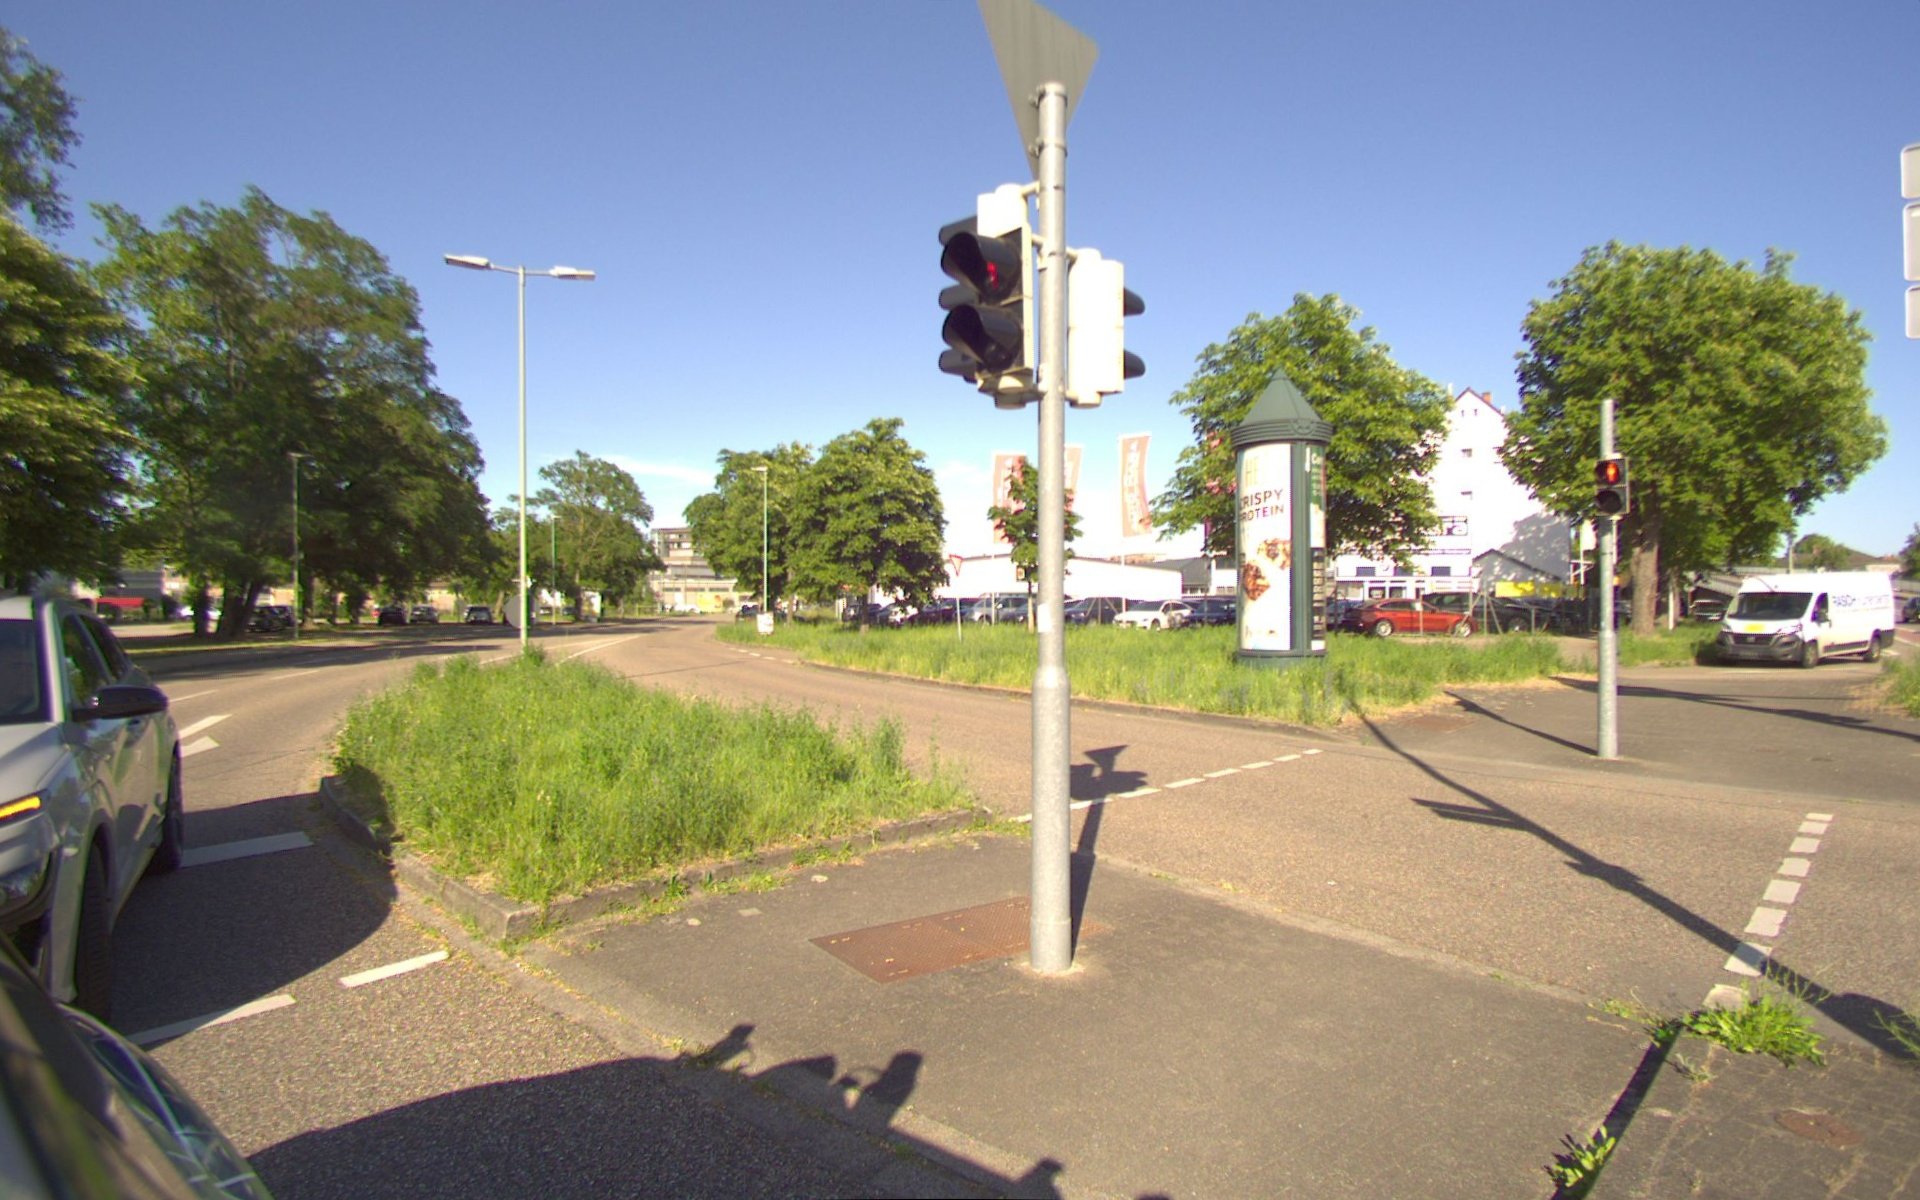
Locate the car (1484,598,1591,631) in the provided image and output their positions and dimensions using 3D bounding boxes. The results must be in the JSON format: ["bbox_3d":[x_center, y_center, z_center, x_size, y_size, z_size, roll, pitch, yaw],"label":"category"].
[{"bbox_3d":[29.221,0.729,51.324,4.369,1.587,1.805,-1,0,16],"label":"car"}]

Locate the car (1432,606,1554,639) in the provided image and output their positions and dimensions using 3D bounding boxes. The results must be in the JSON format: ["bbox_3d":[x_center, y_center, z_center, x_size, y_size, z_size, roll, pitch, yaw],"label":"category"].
[{"bbox_3d":[20.825,0.878,39.728,3.899,1.250,2.032,-1,0,17],"label":"car"}]

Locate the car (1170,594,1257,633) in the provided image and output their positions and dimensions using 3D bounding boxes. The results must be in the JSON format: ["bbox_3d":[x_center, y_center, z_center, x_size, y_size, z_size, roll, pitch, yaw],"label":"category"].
[{"bbox_3d":[10.222,0.533,40.661,1.744,1.473,3.945,-1,-1,42],"label":"car"}]

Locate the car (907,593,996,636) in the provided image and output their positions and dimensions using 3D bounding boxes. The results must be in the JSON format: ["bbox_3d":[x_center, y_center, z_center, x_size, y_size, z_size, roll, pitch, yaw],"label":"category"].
[{"bbox_3d":[-0.401,0.698,49.781,3.934,2.029,2.005,0,-1,-36],"label":"car"}]

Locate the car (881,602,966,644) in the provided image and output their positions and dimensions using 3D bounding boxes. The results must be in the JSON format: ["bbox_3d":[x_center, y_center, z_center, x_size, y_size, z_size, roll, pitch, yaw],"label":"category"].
[{"bbox_3d":[-1.852,1.168,52.127,3.934,2.029,2.005,-1,0,-36],"label":"car"}]

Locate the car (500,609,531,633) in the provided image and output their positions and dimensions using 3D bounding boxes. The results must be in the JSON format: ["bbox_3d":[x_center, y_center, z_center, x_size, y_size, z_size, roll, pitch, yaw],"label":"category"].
[{"bbox_3d":[-33.536,1.561,76.294,1.965,1.679,4.013,2,-1,-25],"label":"car"}]

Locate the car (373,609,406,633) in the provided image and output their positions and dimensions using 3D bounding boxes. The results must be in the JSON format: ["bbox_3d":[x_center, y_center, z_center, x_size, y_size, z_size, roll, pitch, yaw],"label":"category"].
[{"bbox_3d":[-40.662,1.480,72.172,1.708,1.631,4.013,2,-1,-25],"label":"car"}]

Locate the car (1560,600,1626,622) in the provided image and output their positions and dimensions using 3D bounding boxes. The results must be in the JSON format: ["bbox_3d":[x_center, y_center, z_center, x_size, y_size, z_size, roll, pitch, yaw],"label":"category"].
[{"bbox_3d":[46.652,0.819,74.655,3.624,1.521,1.782,-1,0,6],"label":"car"}]

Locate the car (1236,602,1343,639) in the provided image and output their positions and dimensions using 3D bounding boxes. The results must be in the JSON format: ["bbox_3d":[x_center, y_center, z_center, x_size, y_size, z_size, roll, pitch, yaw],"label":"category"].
[{"bbox_3d":[14.266,0.876,43.934,3.999,1.517,1.808,-1,-1,42],"label":"car"}]

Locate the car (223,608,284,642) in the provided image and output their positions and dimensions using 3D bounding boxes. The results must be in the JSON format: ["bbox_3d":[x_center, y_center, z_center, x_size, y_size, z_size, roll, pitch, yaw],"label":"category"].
[{"bbox_3d":[-40.345,1.378,57.914,1.975,1.809,4.013,-1,0,-21],"label":"car"}]

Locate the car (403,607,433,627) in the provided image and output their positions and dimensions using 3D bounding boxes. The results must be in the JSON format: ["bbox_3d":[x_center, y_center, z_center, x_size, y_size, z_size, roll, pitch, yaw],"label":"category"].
[{"bbox_3d":[-42.000,1.304,78.461,1.840,1.451,3.495,2,-1,-25],"label":"car"}]

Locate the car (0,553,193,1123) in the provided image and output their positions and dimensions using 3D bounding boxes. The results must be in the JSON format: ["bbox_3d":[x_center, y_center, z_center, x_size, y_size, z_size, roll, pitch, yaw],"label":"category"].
[{"bbox_3d":[-4.522,0.660,4.253,1.687,1.658,4.067,1,0,-32],"label":"car"}]

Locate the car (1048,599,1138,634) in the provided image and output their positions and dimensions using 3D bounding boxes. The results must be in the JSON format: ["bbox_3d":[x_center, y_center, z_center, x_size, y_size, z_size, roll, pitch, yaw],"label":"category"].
[{"bbox_3d":[5.777,0.697,43.783,1.999,1.452,3.945,-1,-1,42],"label":"car"}]

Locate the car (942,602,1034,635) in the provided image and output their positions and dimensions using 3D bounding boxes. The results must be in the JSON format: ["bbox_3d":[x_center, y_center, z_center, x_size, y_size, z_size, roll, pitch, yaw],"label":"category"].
[{"bbox_3d":[1.324,0.832,47.274,3.932,1.419,1.844,-1,0,-32],"label":"car"}]

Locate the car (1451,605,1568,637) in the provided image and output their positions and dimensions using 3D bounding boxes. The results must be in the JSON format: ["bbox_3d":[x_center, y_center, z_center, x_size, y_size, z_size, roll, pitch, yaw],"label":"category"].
[{"bbox_3d":[22.652,0.851,41.886,3.899,1.250,2.032,-1,0,17],"label":"car"}]

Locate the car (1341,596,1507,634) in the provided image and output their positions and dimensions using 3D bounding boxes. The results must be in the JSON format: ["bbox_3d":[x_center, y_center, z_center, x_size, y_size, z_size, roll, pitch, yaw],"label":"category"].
[{"bbox_3d":[16.971,0.534,37.239,4.995,1.320,2.358,-1,0,4],"label":"car"}]

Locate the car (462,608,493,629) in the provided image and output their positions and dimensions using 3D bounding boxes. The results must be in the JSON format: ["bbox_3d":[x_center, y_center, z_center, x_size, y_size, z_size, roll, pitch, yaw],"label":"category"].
[{"bbox_3d":[-35.898,1.392,75.335,1.965,1.461,4.013,2,-1,-25],"label":"car"}]

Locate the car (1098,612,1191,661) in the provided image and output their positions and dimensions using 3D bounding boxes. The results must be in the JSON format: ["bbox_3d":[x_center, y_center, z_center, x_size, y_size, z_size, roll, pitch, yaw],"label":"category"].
[{"bbox_3d":[7.691,1.472,42.017,1.999,1.901,3.945,-2,-1,42],"label":"car"}]

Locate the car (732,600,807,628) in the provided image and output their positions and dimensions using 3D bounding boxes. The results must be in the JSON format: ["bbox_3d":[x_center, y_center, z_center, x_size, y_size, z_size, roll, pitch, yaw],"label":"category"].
[{"bbox_3d":[-10.953,0.785,58.099,3.930,1.541,1.935,0,-1,-22],"label":"car"}]

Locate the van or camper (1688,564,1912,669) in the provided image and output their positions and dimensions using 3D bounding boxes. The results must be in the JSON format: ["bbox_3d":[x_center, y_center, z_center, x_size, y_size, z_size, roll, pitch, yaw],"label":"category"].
[{"bbox_3d":[23.136,0.421,27.806,6.498,2.602,2.613,0,-2,-30],"label":"van or camper"}]
